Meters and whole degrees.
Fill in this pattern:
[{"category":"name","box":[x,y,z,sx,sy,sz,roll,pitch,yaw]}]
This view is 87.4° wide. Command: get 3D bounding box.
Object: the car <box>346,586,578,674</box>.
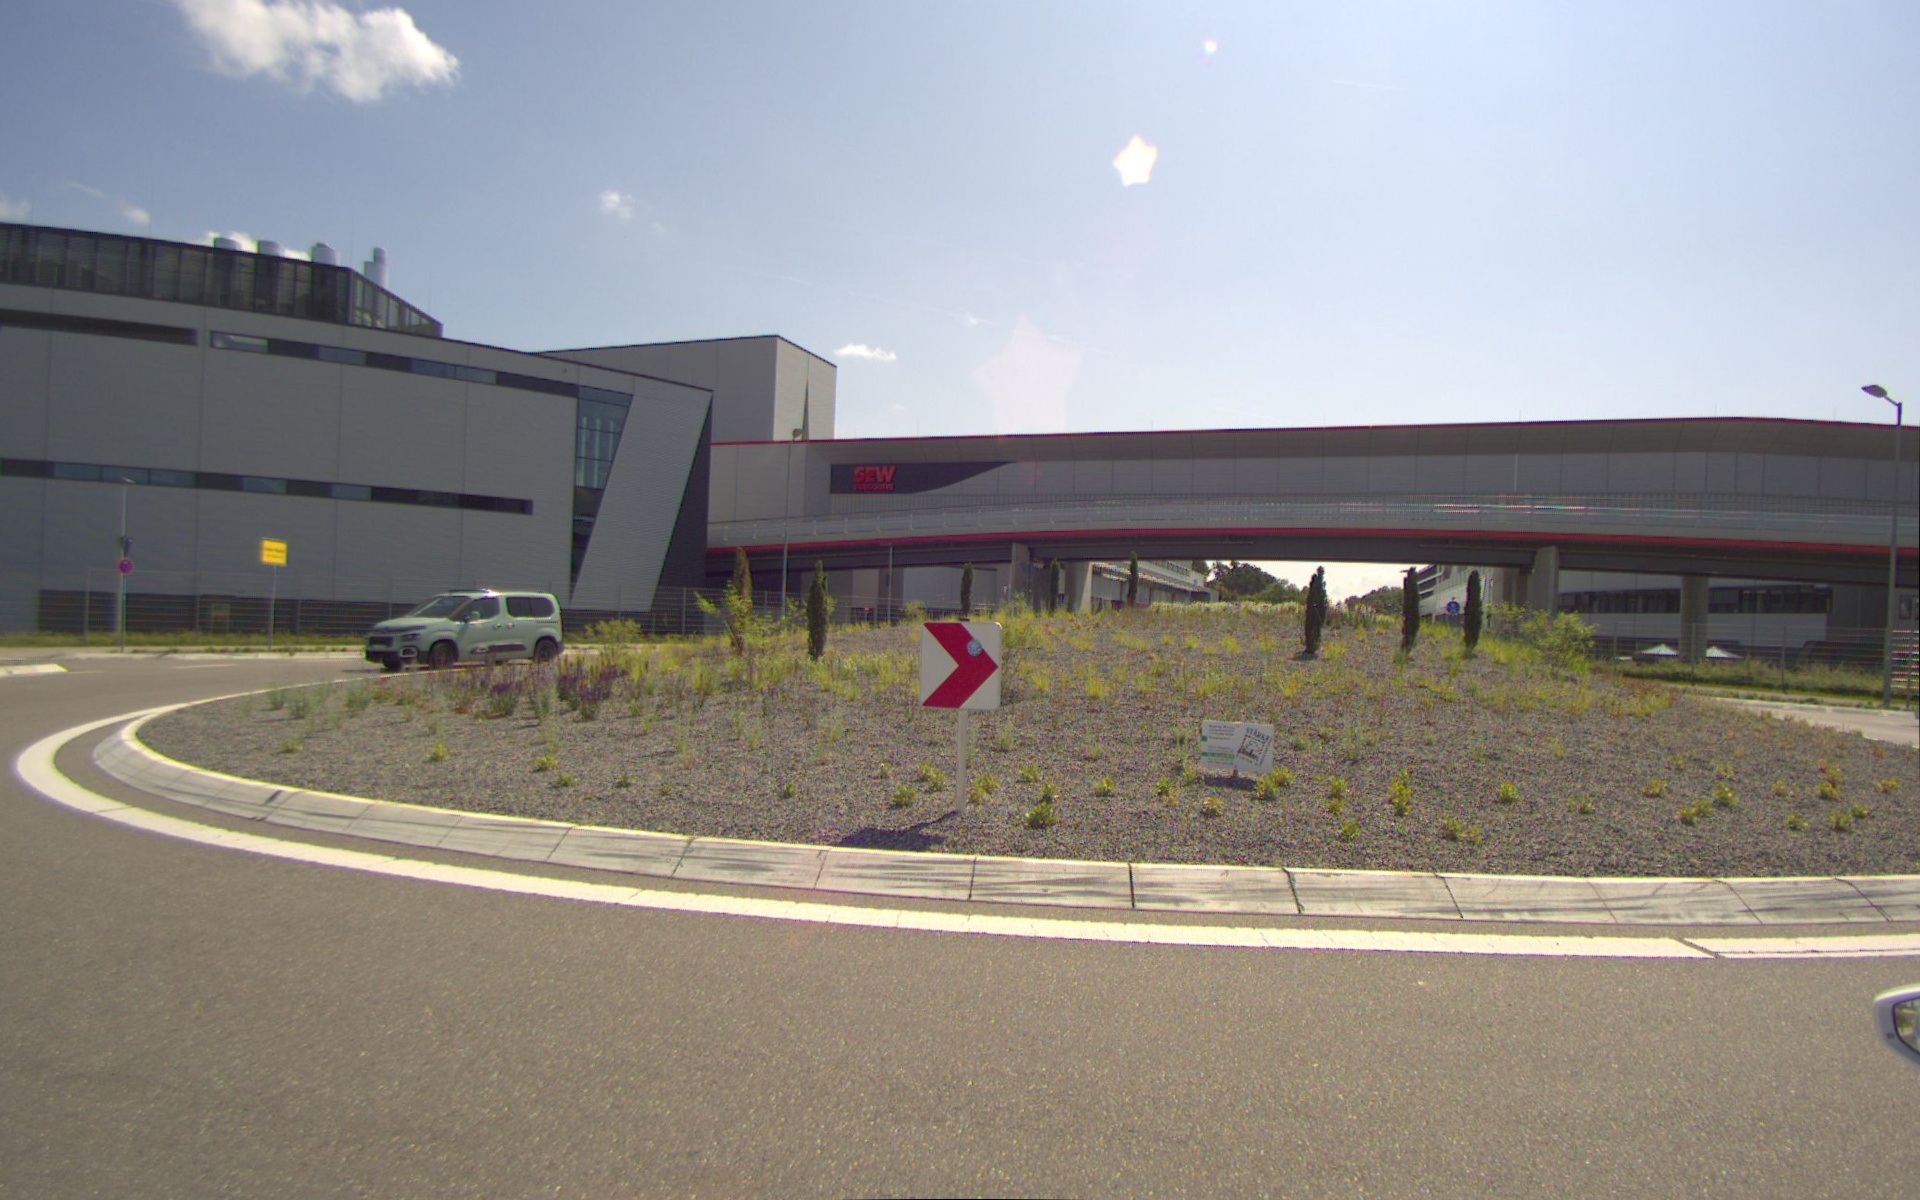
[{"category":"car","box":[-11.431,0.678,23.427,1.963,1.803,4.555,1,-1,27]}]
